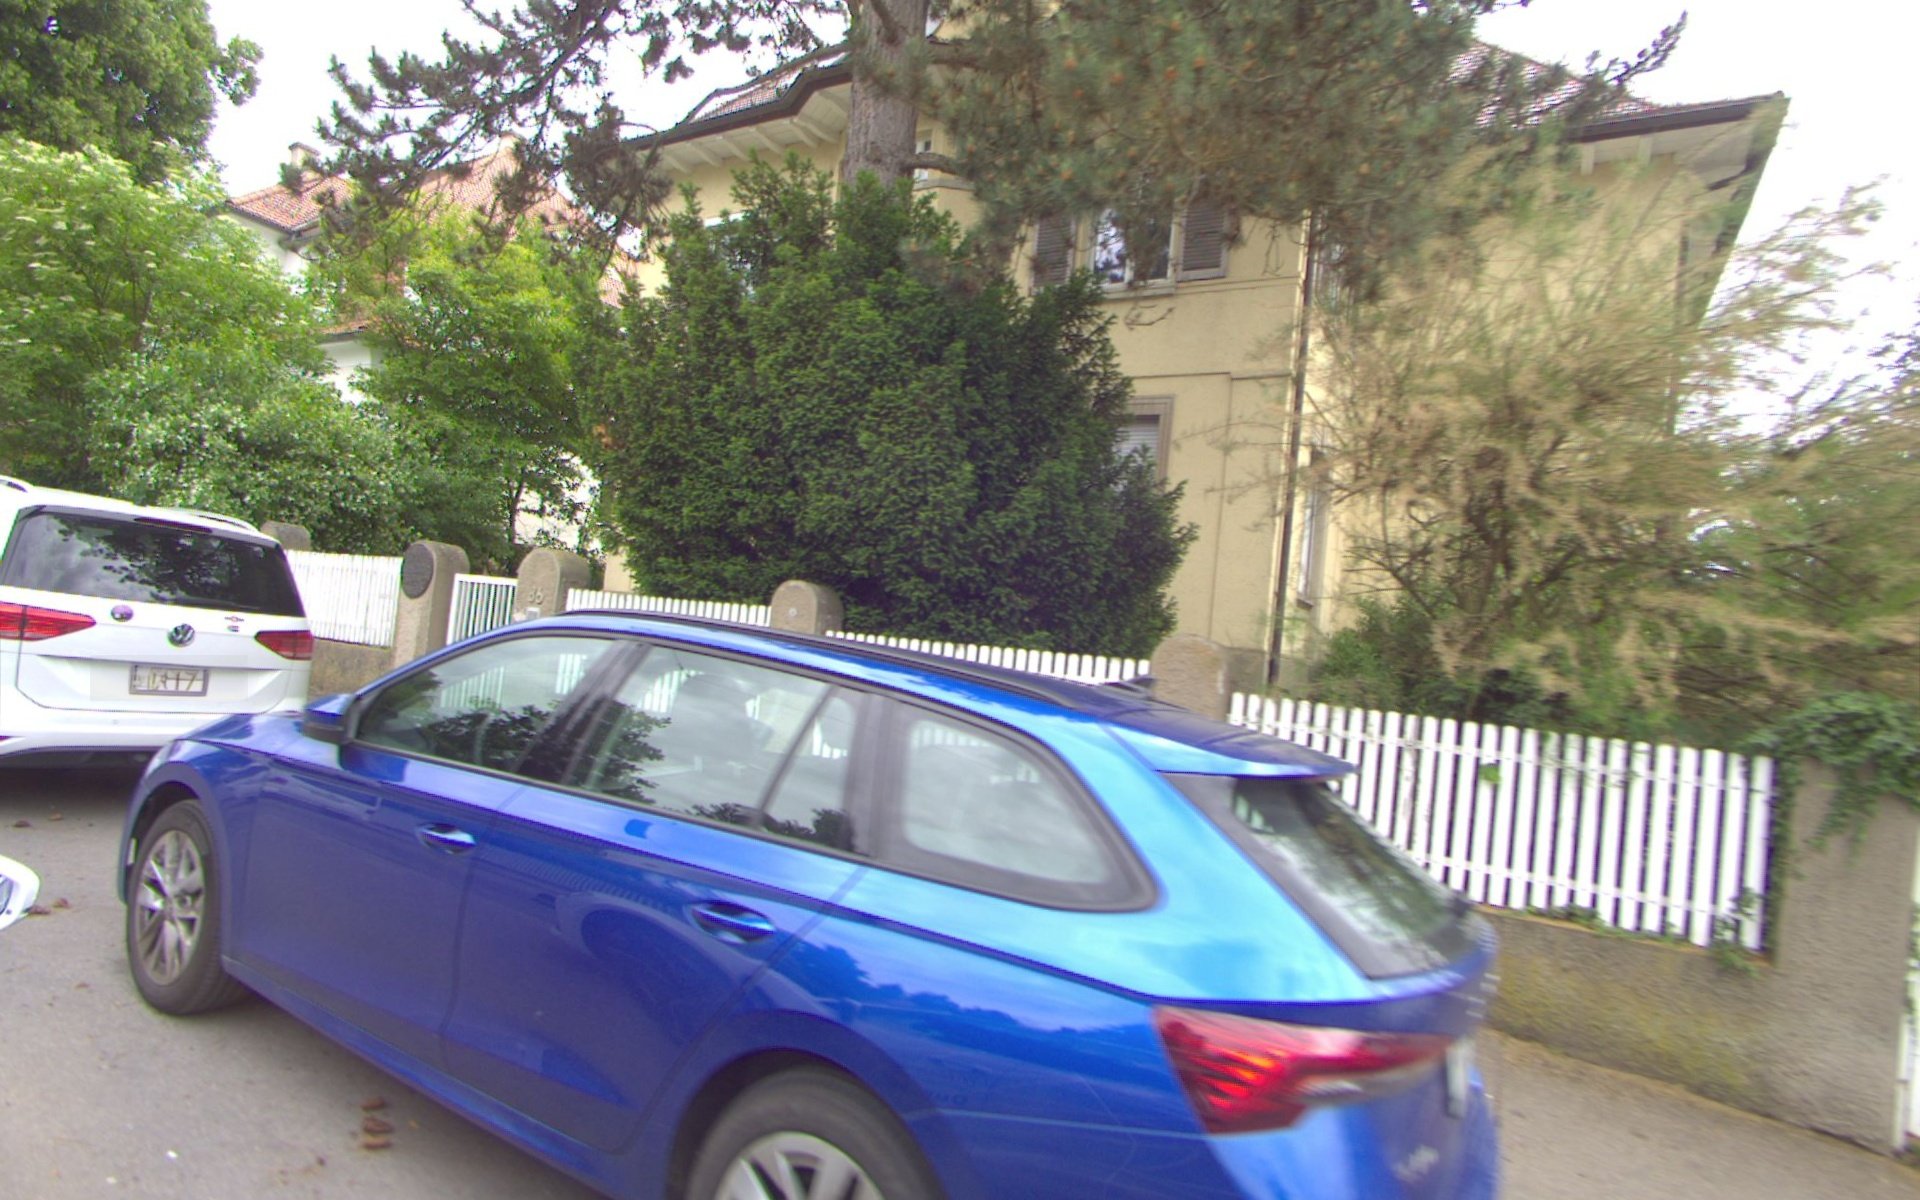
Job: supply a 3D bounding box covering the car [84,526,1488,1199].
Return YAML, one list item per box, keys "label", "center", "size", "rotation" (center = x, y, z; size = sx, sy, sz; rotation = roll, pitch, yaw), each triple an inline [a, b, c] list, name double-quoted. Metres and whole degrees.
- label: "car"
  center: [-0.742, 0.759, 3.077]
  size: [3.984, 1.474, 1.652]
  rotation: [6, -3, 31]

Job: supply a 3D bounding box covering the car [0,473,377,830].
- label: "car"
  center: [-5.846, 0.124, 6.255]
  size: [4.231, 1.620, 1.791]
  rotation: [7, -4, 30]
